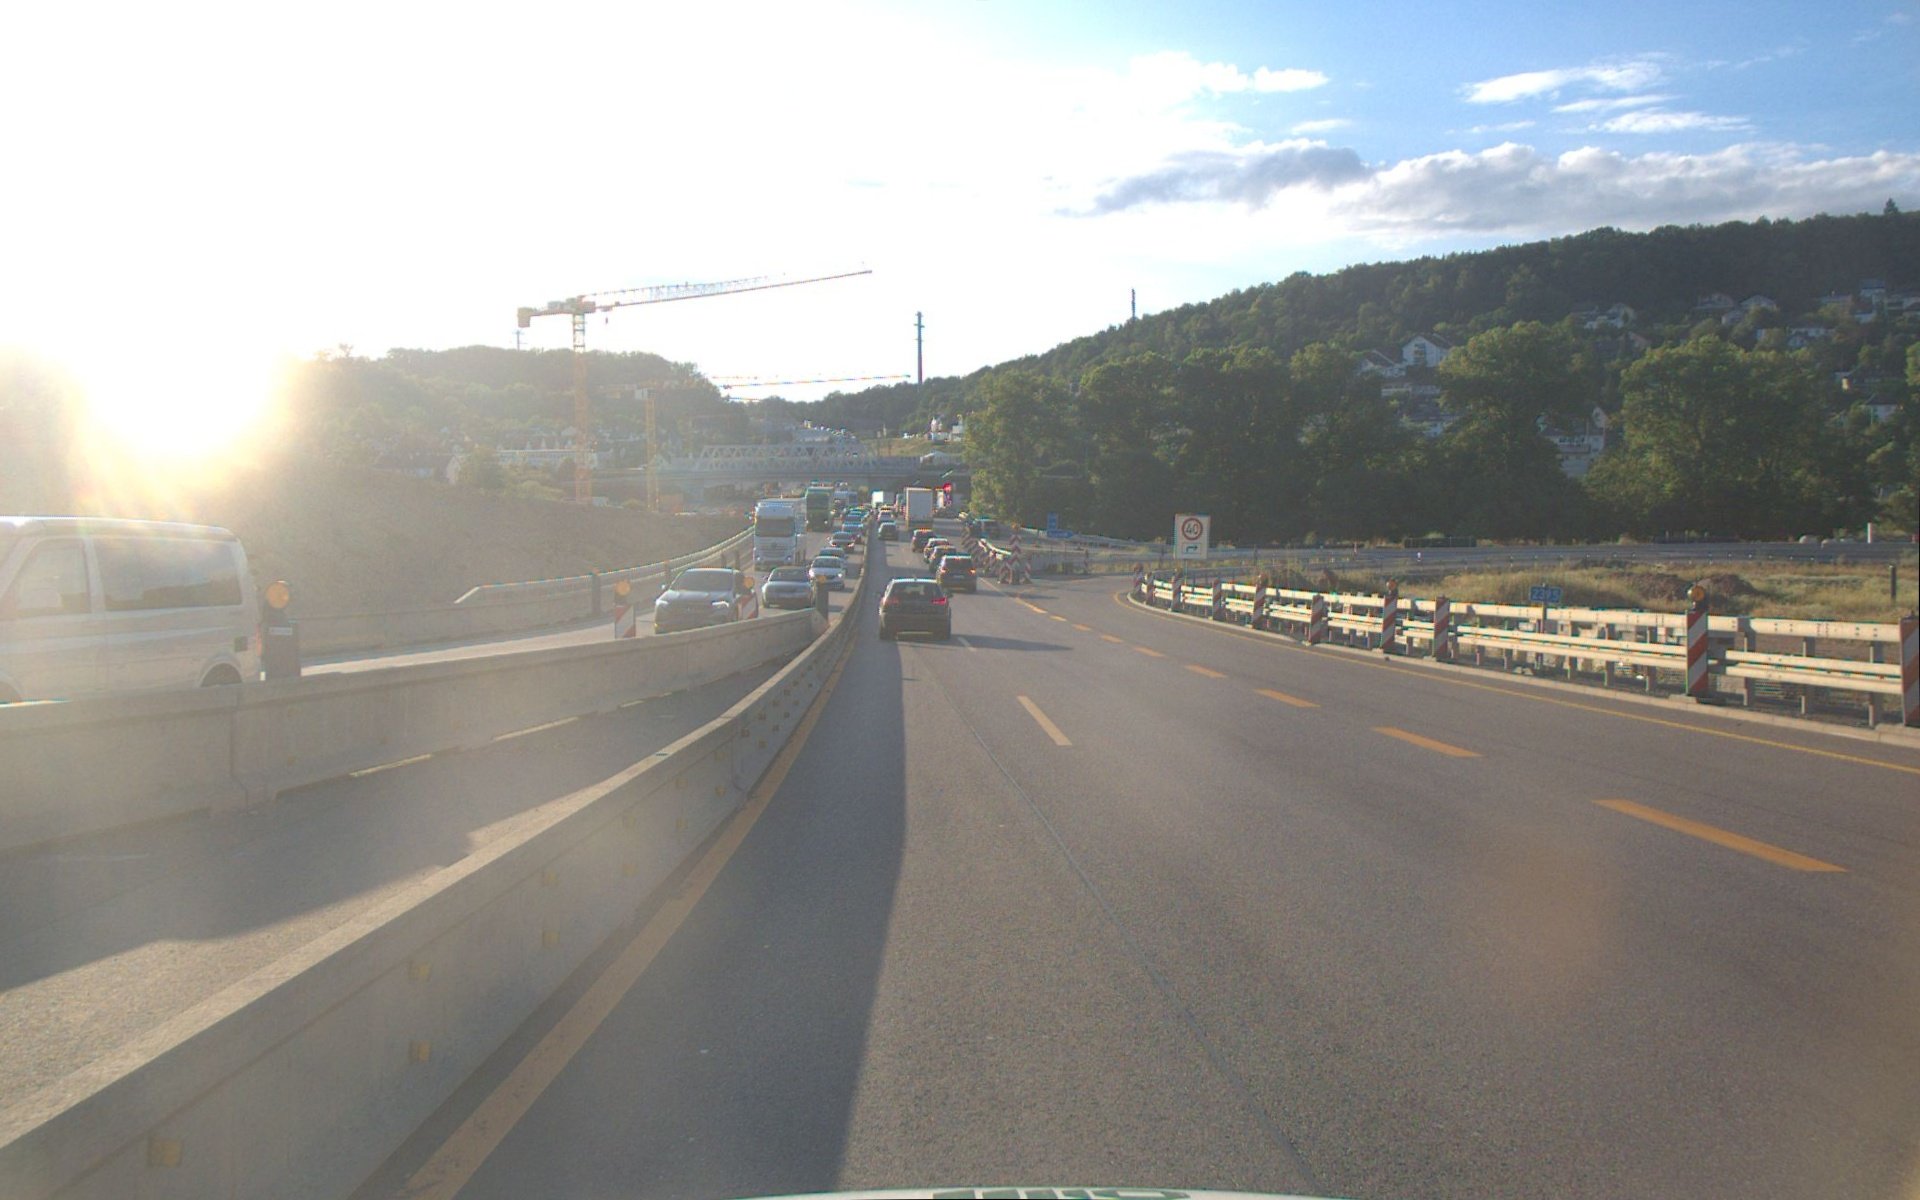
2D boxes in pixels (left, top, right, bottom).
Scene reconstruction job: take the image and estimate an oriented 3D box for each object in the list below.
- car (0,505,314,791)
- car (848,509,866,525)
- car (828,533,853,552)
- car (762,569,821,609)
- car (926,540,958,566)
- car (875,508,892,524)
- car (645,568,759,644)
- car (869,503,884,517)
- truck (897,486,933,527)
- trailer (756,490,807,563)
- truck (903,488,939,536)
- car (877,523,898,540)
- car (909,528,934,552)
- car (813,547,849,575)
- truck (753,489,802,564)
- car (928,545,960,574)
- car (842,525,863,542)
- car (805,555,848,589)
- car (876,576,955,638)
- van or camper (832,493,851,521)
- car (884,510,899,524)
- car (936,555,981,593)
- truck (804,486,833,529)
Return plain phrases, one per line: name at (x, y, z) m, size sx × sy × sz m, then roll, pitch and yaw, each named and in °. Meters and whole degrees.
car at (-7.641, 0.307, 13.795) m, size 1.951 × 2.049 × 5.261 m, roll 1°, pitch 1°, yaw 6°
car at (-12.171, -9.826, 195.944) m, size 1.954 × 1.825 × 3.999 m, roll 1°, pitch 2°, yaw -3°
car at (-8.983, -4.347, 124.774) m, size 1.800 × 1.434 × 4.494 m, roll 0°, pitch 2°, yaw -3°
car at (-6.061, -0.424, 59.905) m, size 1.752 × 1.381 × 4.634 m, roll 1°, pitch 1°, yaw -2°
car at (-1.226, -3.157, 110.074) m, size 1.838 × 1.627 × 4.963 m, roll 0°, pitch 3°, yaw -4°
car at (-8.575, -9.415, 186.430) m, size 1.885 × 1.579 × 3.998 m, roll 1°, pitch 0°, yaw -2°
car at (-6.014, 0.088, 39.151) m, size 1.751 × 1.647 × 4.875 m, roll 1°, pitch 1°, yaw 2°
car at (-10.566, -11.354, 208.975) m, size 1.885 × 1.579 × 3.999 m, roll 1°, pitch 2°, yaw -2°
truck at (-5.476, -11.307, 198.088) m, size 3.813 × 4.574 × 15.266 m, roll 1°, pitch 4°, yaw -3°
trailer at (-11.350, -4.627, 106.113) m, size 2.481 × 4.286 × 13.927 m, roll 1°, pitch 2°, yaw -3°
truck at (-4.053, -9.059, 168.638) m, size 3.318 × 4.575 × 15.266 m, roll 1°, pitch 4°, yaw -2°
car at (-6.387, -6.046, 145.870) m, size 1.825 × 1.444 × 3.999 m, roll 1°, pitch 2°, yaw -2°
car at (-2.967, -4.604, 126.623) m, size 1.778 × 1.660 × 4.410 m, roll 1°, pitch 3°, yaw -3°
car at (-7.313, -2.228, 94.129) m, size 1.812 × 1.509 × 4.510 m, roll 0°, pitch 2°, yaw -2°
truck at (-10.995, -4.414, 100.168) m, size 2.502 × 4.294 × 6.048 m, roll 1°, pitch 2°, yaw -3°
car at (-0.943, -2.372, 97.215) m, size 1.738 × 1.613 × 4.133 m, roll 1°, pitch 0°, yaw -2°
car at (-9.076, -5.638, 140.151) m, size 1.681 × 1.434 × 4.326 m, roll 0°, pitch 2°, yaw -3°
car at (-6.248, -1.294, 77.493) m, size 1.752 × 1.514 × 4.219 m, roll 1°, pitch 1°, yaw -2°
car at (-1.137, 0.135, 40.437) m, size 1.735 × 1.414 × 3.997 m, roll 1°, pitch 1°, yaw -5°
van or camper at (-16.101, -12.654, 224.669) m, size 2.409 × 3.557 × 7.413 m, roll 0°, pitch 4°, yaw -3°
car at (-9.225, -11.253, 223.530) m, size 1.885 × 1.579 × 3.998 m, roll 2°, pitch -1°, yaw -2°
car at (-0.111, -1.183, 76.717) m, size 1.777 × 1.643 × 4.523 m, roll 1°, pitch 0°, yaw -4°
truck at (-14.003, -9.172, 163.687) m, size 2.715 × 4.151 × 5.773 m, roll 1°, pitch 3°, yaw -4°
